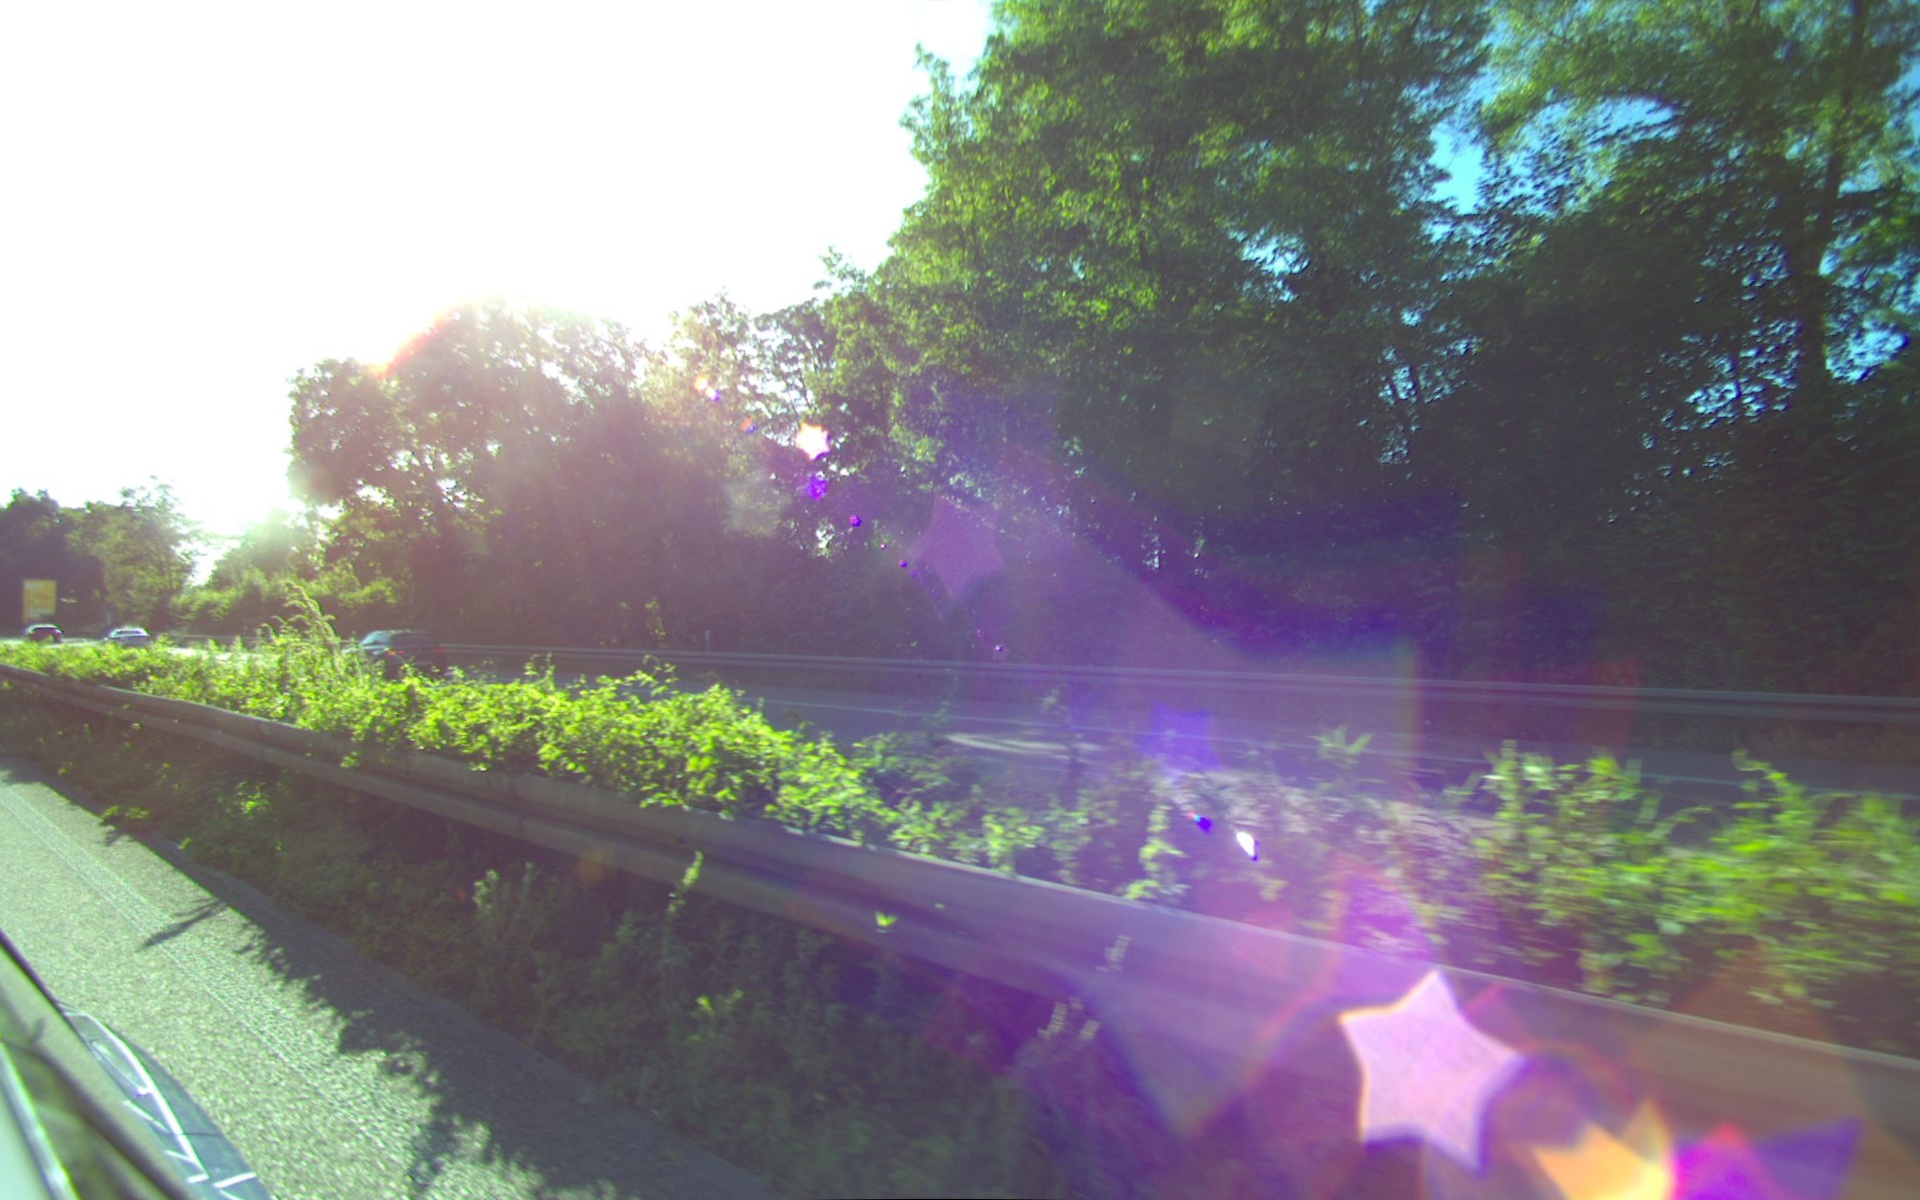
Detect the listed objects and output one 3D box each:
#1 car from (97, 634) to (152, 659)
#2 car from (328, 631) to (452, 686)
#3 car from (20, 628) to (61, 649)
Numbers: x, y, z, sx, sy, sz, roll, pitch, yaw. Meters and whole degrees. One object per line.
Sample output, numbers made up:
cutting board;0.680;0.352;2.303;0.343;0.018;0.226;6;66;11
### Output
car;-45.400;2.509;54.989;4.260;1.232;1.628;-1;-1;41
car;-16.681;1.664;29.544;4.553;1.419;1.715;-2;-1;41
car;-67.288;2.805;74.024;4.134;1.436;1.730;-1;0;41
